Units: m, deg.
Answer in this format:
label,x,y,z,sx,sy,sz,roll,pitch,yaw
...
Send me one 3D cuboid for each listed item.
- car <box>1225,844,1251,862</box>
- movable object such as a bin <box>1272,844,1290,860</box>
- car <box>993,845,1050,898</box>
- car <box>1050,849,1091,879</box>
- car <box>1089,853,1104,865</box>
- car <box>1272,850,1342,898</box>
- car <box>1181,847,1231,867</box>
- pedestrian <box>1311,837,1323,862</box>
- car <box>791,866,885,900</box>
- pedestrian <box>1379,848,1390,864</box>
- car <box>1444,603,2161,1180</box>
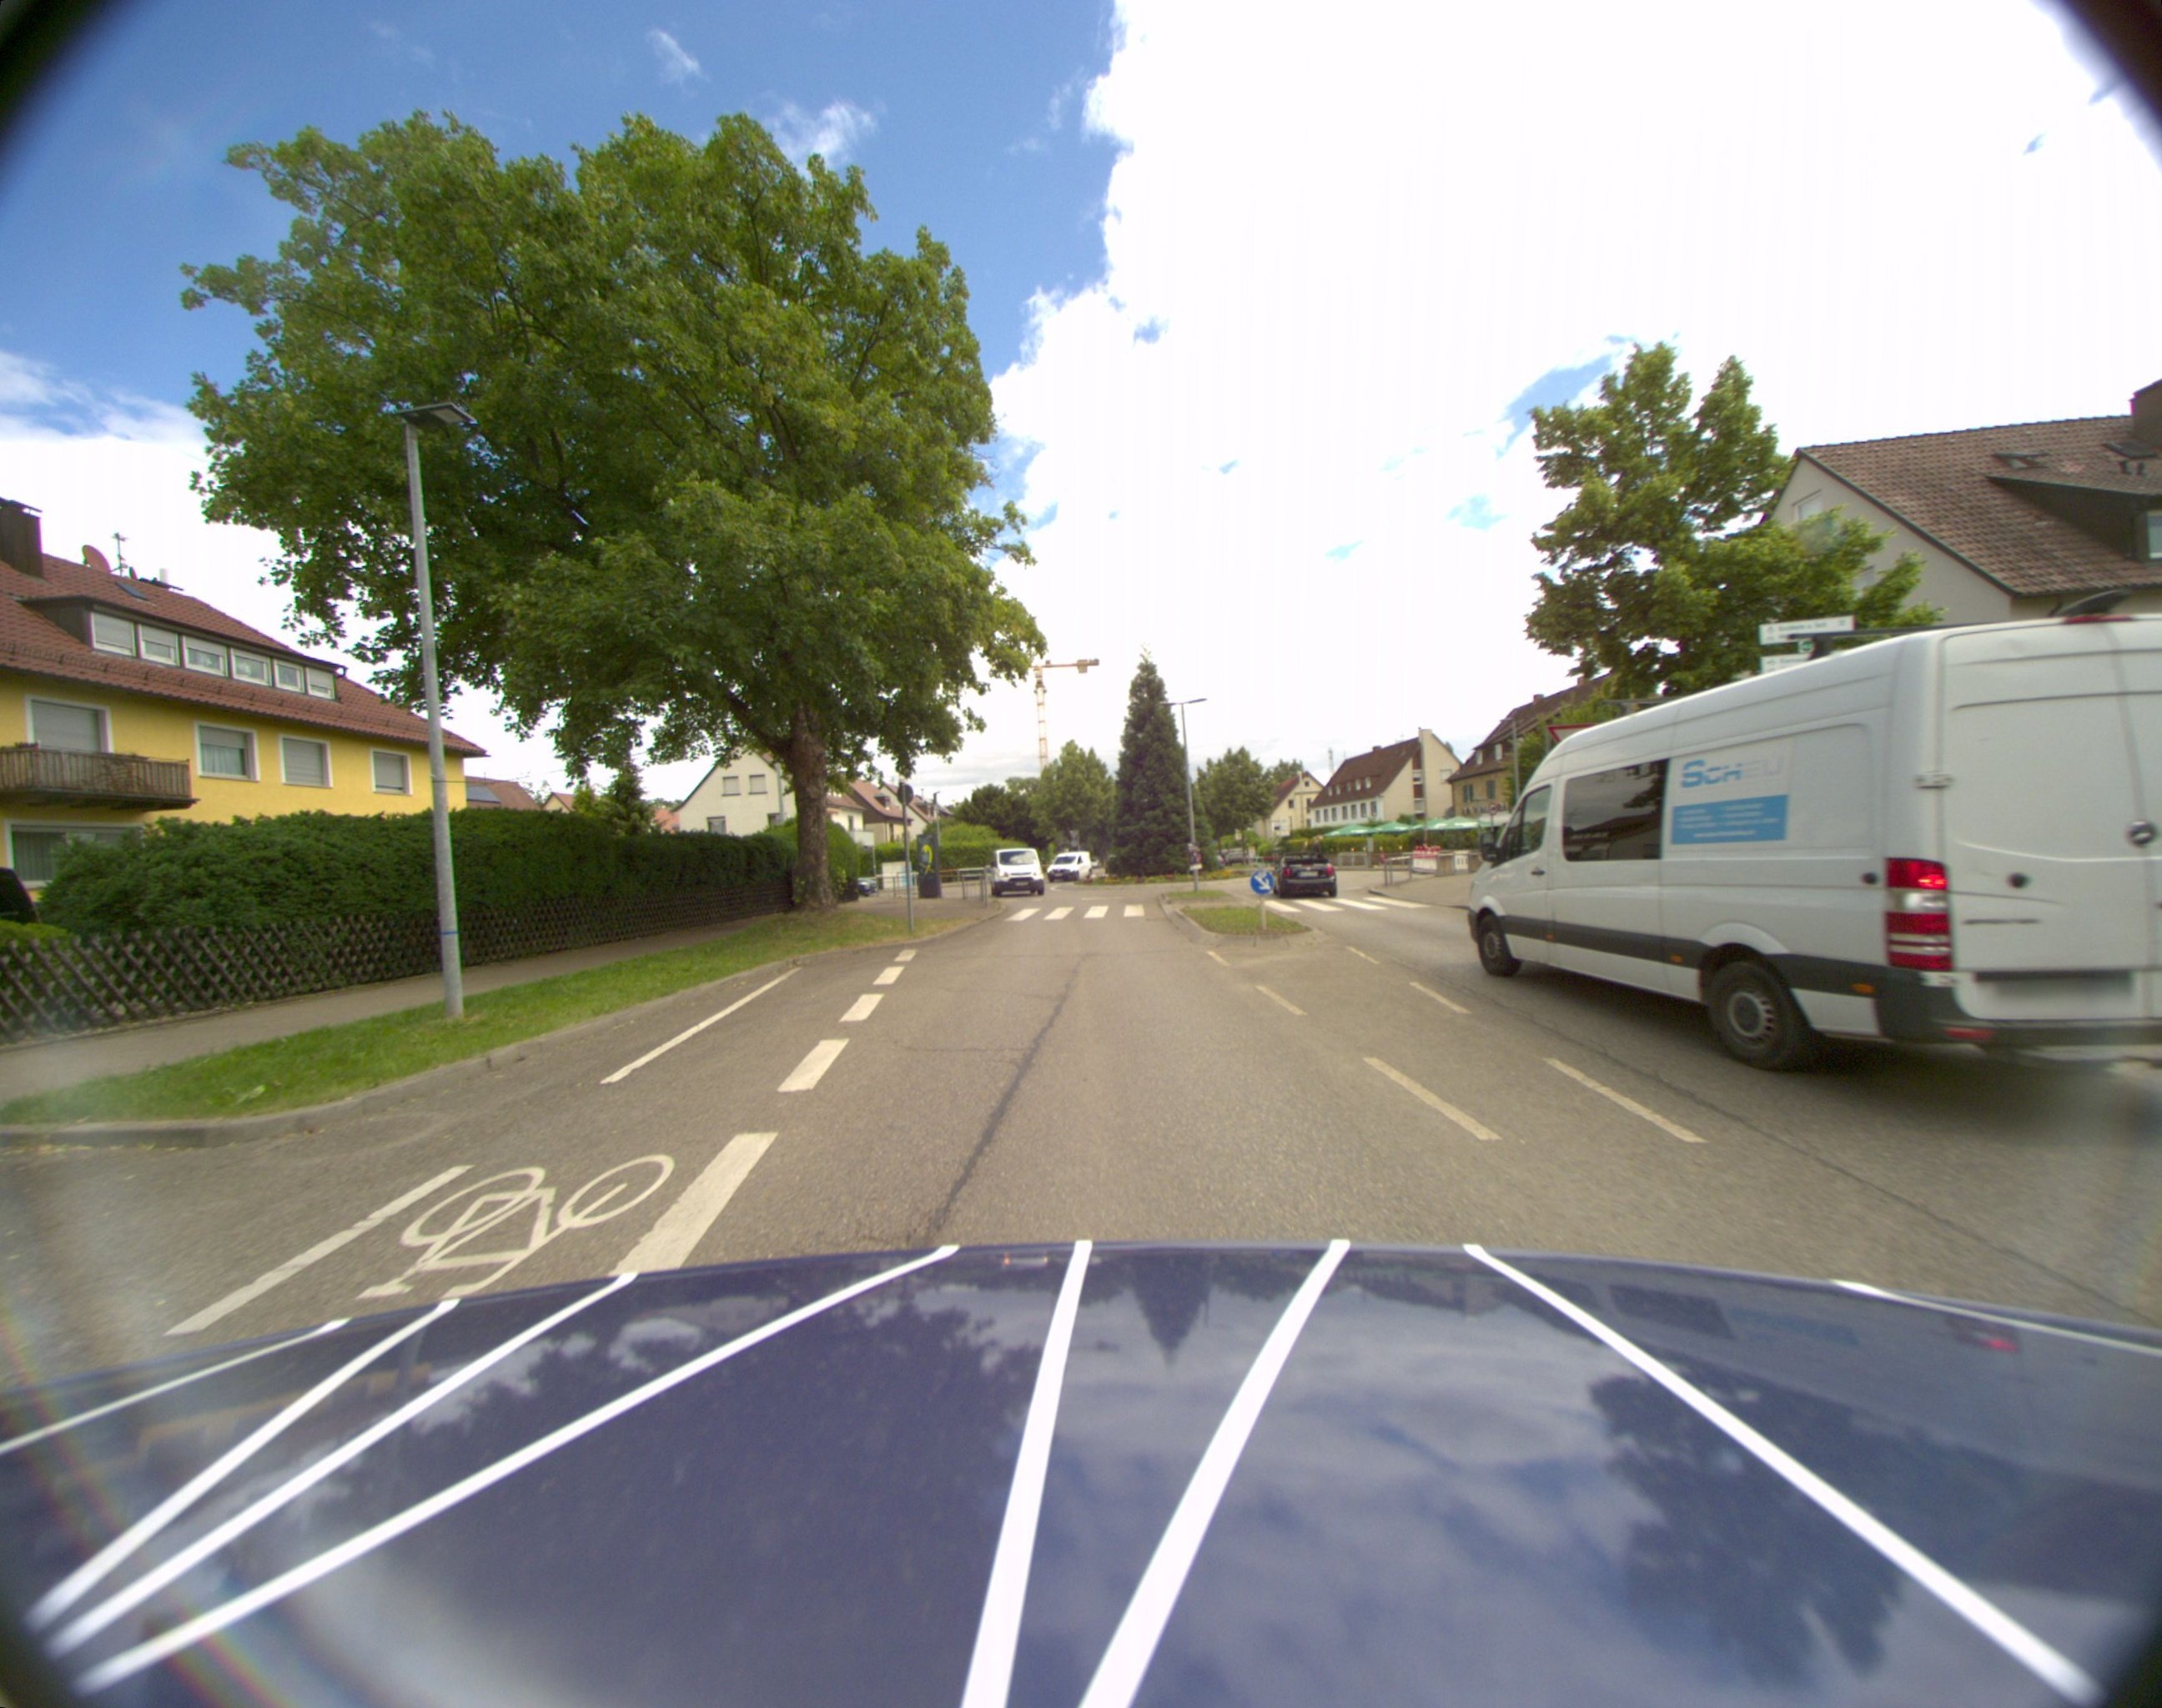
label,x,y,z,sx,sy,sz,roll,pitch,yaw
car,14.971,-0.085,72.701,1.751,1.626,4.048,-3,0,3
movable object such as a bin,18.260,-0.159,69.286,0.983,1.408,2.723,-3,0,3
car,-2.666,0.713,32.821,2.000,2.002,5.046,-3,0,-9
car,-0.604,0.587,47.616,1.925,1.744,4.002,-3,0,8
car,1.997,0.627,98.836,1.781,1.446,4.171,-2,0,1
car,7.148,0.592,24.313,1.576,1.354,3.745,-3,0,8
car,9.273,0.224,56.775,1.616,1.364,4.498,-2,1,-21
pedestrian,17.146,-0.326,55.141,0.637,1.816,0.567,-4,0,7
car,-12.552,1.506,39.374,4.315,1.440,1.584,-3,0,5
pedestrian,18.959,0.129,47.486,0.341,0.907,0.427,-6,0,-35
car,5.318,0.158,6.408,2.023,2.658,5.807,-3,0,4
